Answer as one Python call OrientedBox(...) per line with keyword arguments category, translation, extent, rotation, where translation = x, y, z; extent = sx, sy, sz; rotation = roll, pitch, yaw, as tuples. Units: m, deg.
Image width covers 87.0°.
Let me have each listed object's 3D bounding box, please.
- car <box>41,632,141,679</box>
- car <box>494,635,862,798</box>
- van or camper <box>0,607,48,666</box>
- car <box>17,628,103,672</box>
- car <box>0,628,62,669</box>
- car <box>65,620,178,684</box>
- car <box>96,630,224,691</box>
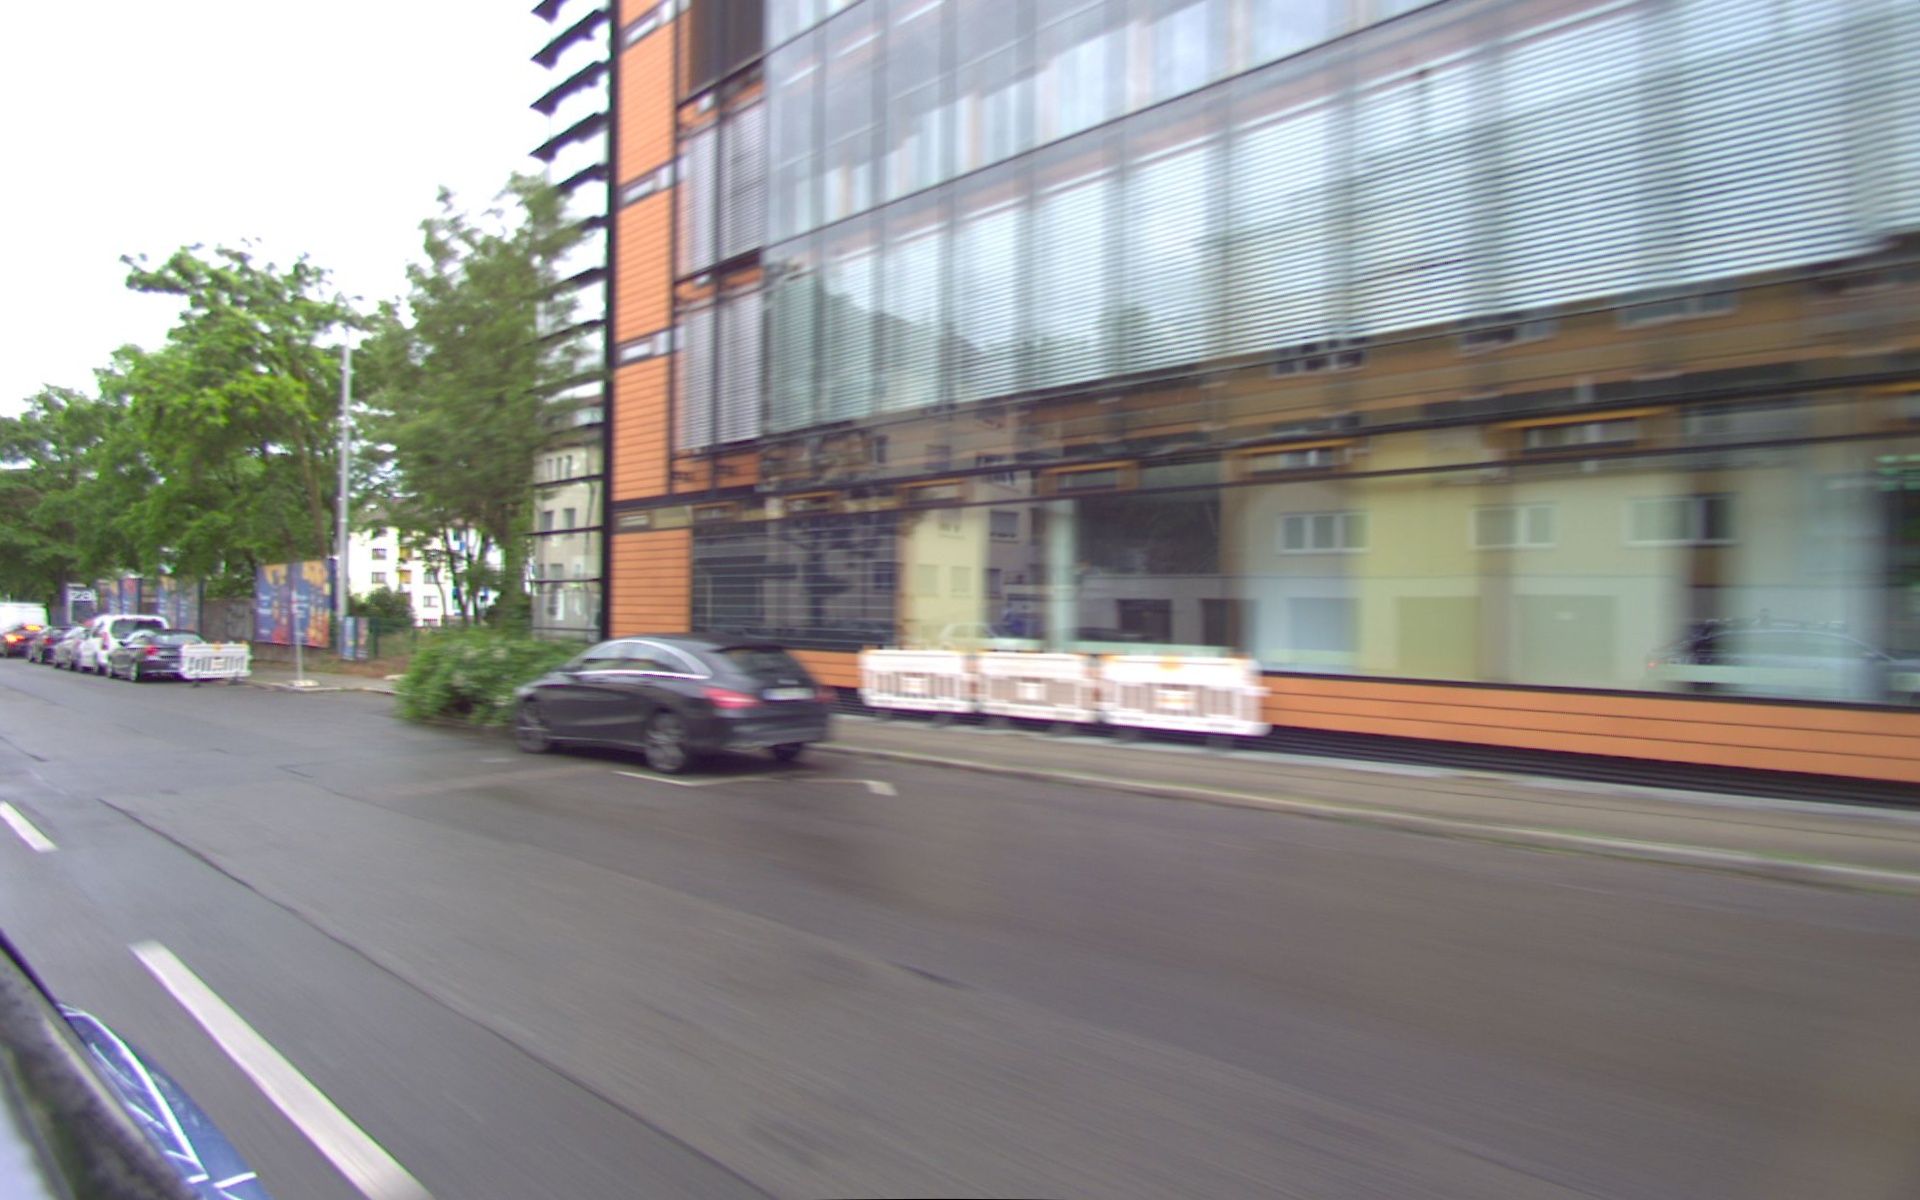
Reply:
OrientedBox(category="car", translation=(-29.185, 1.820, 33.956), extent=(3.826, 1.363, 1.857), rotation=(1, -1, 39))
OrientedBox(category="car", translation=(-3.274, 1.154, 11.366), extent=(4.323, 1.475, 1.706), rotation=(-1, -3, 37))
OrientedBox(category="van or camper", translation=(-45.394, 1.696, 48.399), extent=(5.550, 2.622, 2.115), rotation=(1, 0, 43))
OrientedBox(category="car", translation=(-33.981, 1.860, 38.197), extent=(3.514, 1.476, 1.857), rotation=(1, -1, 39))
OrientedBox(category="car", translation=(-40.919, 2.084, 44.247), extent=(3.998, 1.586, 1.973), rotation=(1, 0, 41))
OrientedBox(category="car", translation=(-25.576, 1.530, 30.834), extent=(3.996, 1.722, 1.857), rotation=(1, -1, 39))
OrientedBox(category="car", translation=(-21.725, 1.584, 27.435), extent=(3.996, 1.408, 1.857), rotation=(1, -1, 39))
